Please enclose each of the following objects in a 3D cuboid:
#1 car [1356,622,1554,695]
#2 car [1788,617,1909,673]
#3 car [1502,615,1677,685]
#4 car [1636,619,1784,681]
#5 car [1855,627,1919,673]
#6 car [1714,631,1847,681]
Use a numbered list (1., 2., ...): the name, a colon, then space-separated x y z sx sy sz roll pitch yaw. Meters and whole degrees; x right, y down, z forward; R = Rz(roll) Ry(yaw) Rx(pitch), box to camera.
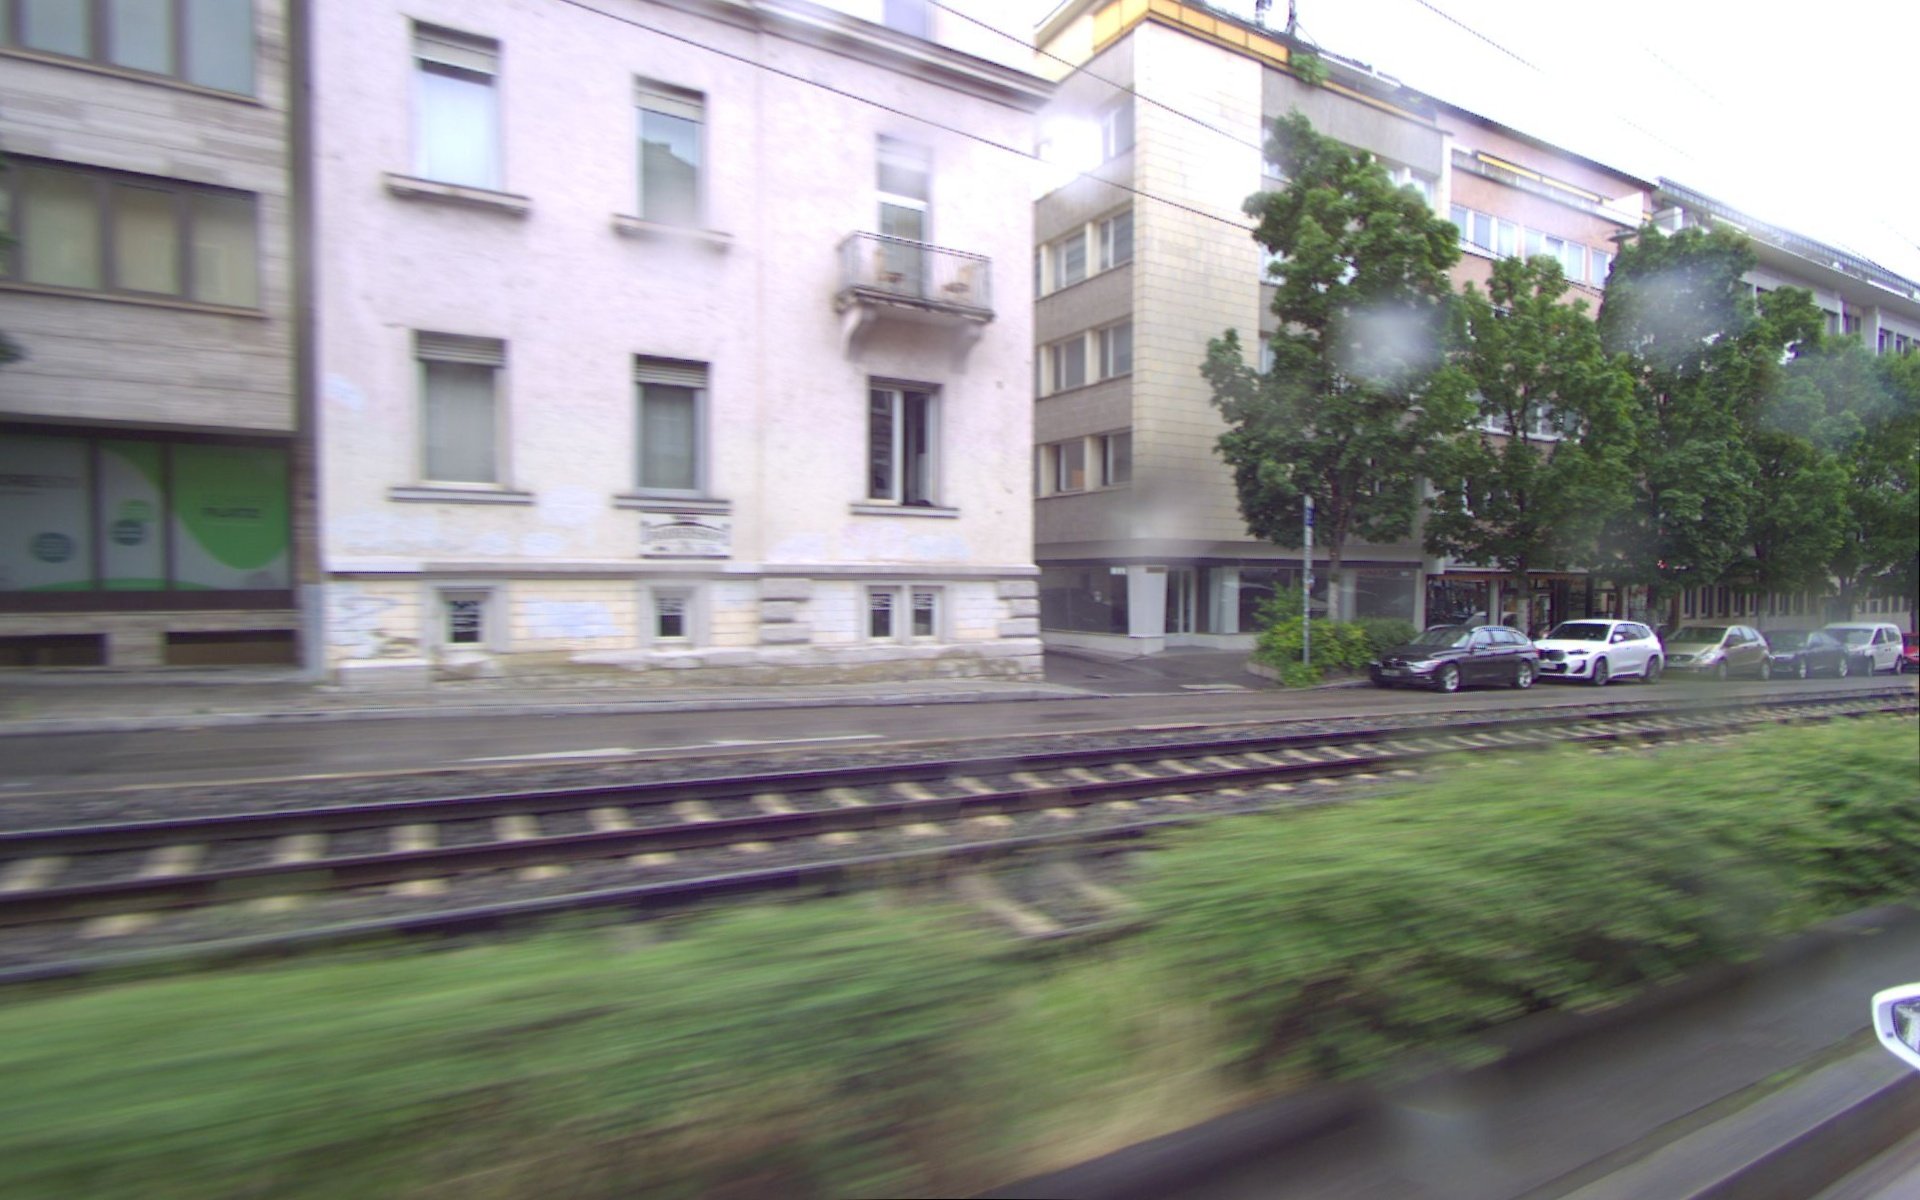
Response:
1. car: 11.238 1.335 22.712 4.666 1.395 1.685 4 0 -30
2. car: 30.724 1.571 34.712 4.380 1.723 1.846 3 0 -30
3. car: 16.290 1.302 25.921 4.666 1.569 1.846 3 0 -30
4. car: 21.766 1.448 29.129 4.380 1.569 1.846 3 0 -30
5. car: 35.799 1.912 37.887 3.999 1.547 1.846 3 0 -30
6. car: 25.725 1.757 31.459 4.380 1.436 1.847 3 -3 -30
